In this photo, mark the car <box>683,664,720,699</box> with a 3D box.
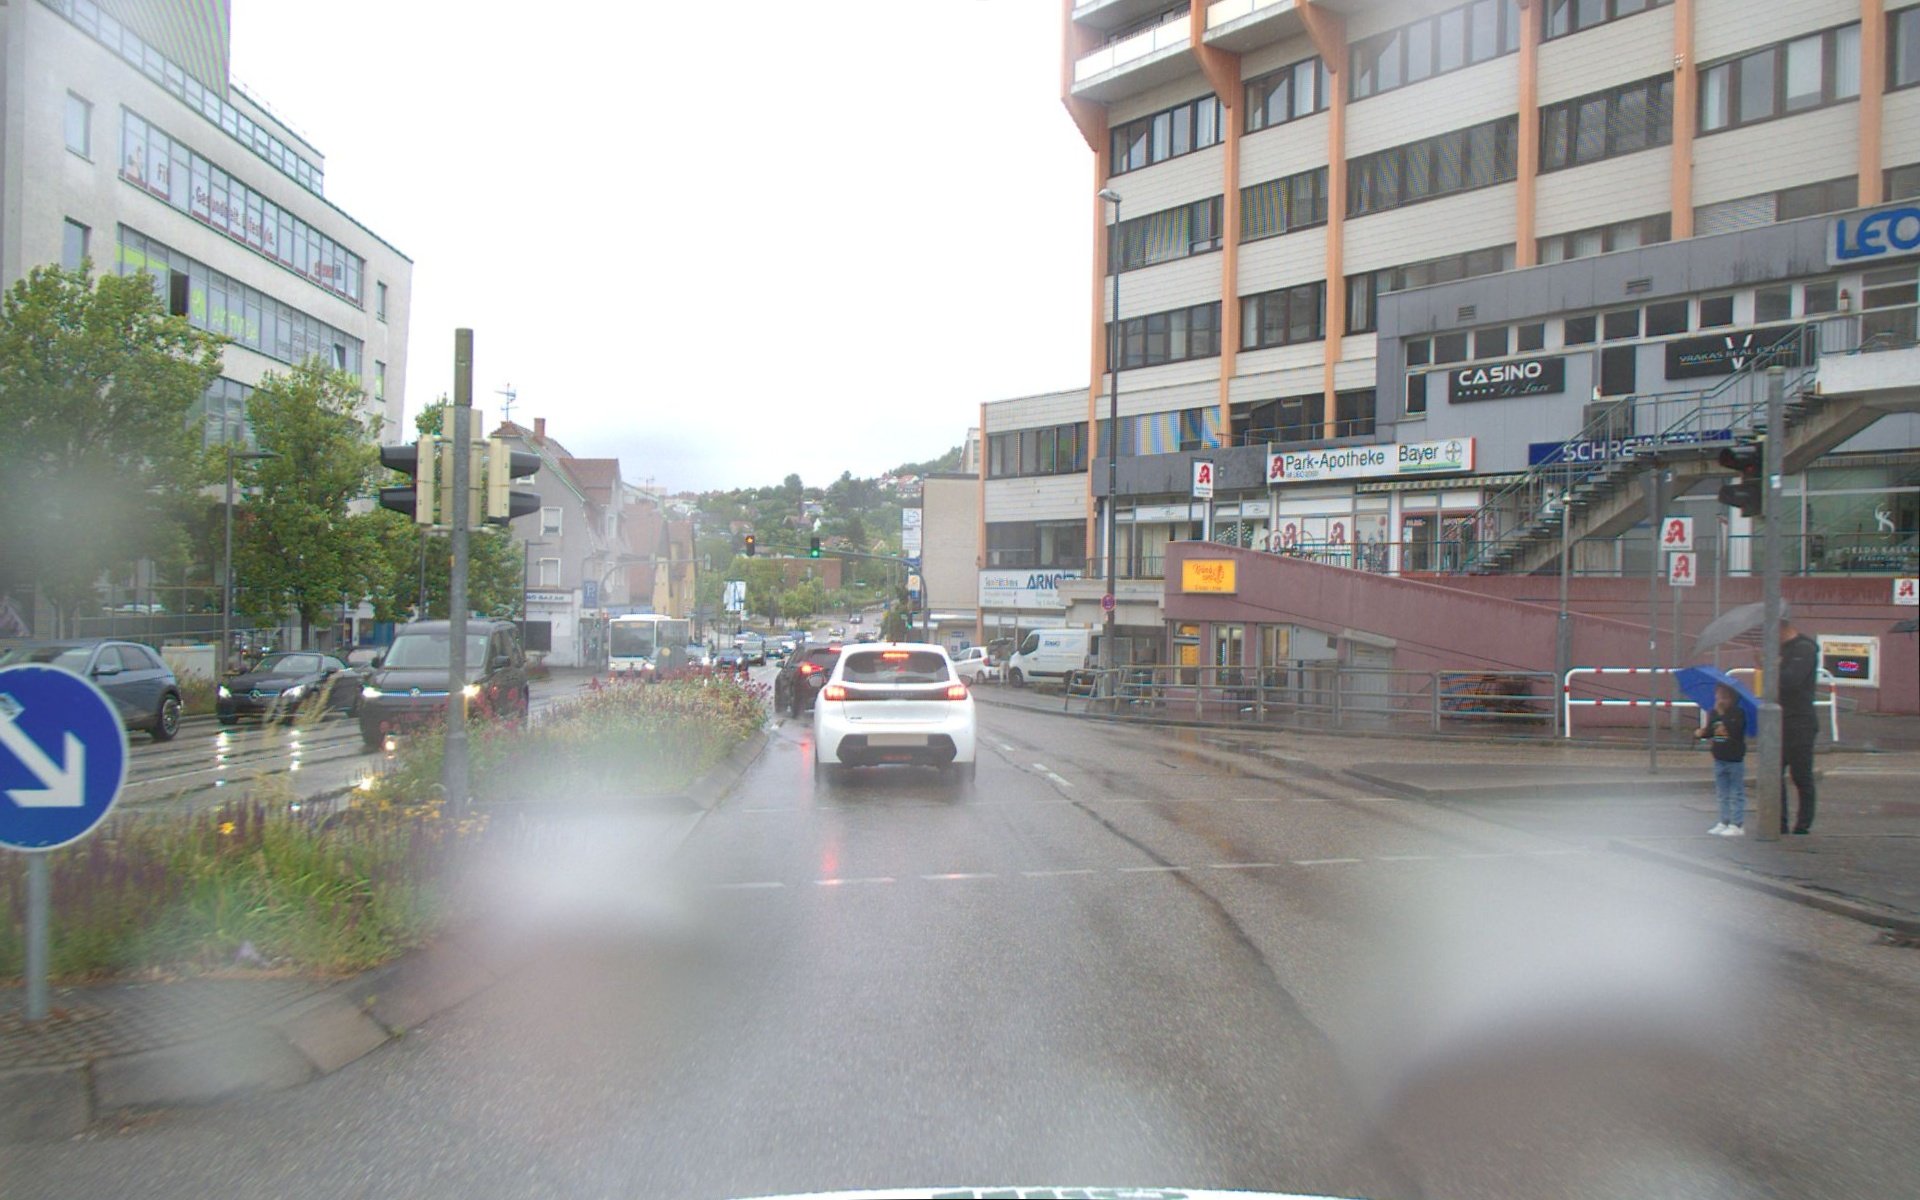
[{"bbox_3d":[-12.817,4.022,82.083,1.781,1.582,3.992,0,-1,-9],"label":"car"}]

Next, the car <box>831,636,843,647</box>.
[{"bbox_3d":[-18.516,6.195,248.338,1.712,1.582,3.996,0,-1,-5],"label":"car"}]

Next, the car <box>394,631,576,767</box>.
[{"bbox_3d":[-7.168,1.482,25.368,1.955,1.856,4.292,-1,-2,-6],"label":"car"}]

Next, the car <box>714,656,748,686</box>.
[{"bbox_3d":[-13.079,4.058,94.638,1.780,1.582,3.995,0,-1,-6],"label":"car"}]

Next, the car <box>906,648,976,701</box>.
[{"bbox_3d":[-0.592,2.160,48.549,1.873,1.425,3.455,1,-1,-3],"label":"car"}]

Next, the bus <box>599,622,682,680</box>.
[{"bbox_3d":[-16.701,2.575,86.983,2.879,2.832,9.499,0,-1,-2],"label":"bus"}]

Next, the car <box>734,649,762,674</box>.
[{"bbox_3d":[-14.561,4.202,113.704,1.712,1.582,3.996,0,-1,-5],"label":"car"}]

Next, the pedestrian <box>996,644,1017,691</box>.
[{"bbox_3d":[1.841,2.684,65.776,0.635,1.854,0.575,1,-1,-36],"label":"pedestrian"}]

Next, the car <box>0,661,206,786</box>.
[{"bbox_3d":[-13.562,1.848,25.650,1.738,1.622,4.585,-3,-1,-3],"label":"car"}]

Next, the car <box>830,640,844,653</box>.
[{"bbox_3d":[-15.042,5.673,202.433,1.712,1.582,3.996,0,-1,-5],"label":"car"}]

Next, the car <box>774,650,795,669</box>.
[{"bbox_3d":[-16.107,5.463,151.822,1.711,1.582,3.997,0,-1,-4],"label":"car"}]

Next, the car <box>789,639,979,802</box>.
[{"bbox_3d":[-0.833,1.237,18.249,1.834,1.488,3.871,2,0,-3],"label":"car"}]

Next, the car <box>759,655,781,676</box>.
[{"bbox_3d":[-15.816,5.428,137.894,1.712,1.582,3.996,0,-1,-5],"label":"car"}]

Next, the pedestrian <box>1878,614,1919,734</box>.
[{"bbox_3d":[13.889,1.060,23.872,0.777,1.698,0.931,1,-1,1],"label":"pedestrian"}]

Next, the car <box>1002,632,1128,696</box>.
[{"bbox_3d":[3.906,2.359,62.291,1.980,2.265,4.906,1,-1,-39],"label":"car"}]

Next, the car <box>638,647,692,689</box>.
[{"bbox_3d":[-12.098,2.753,67.974,1.856,1.582,3.995,0,-1,-6],"label":"car"}]

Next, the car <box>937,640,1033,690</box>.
[{"bbox_3d":[0.989,2.612,67.292,1.869,1.912,4.084,0,-1,-35],"label":"car"}]

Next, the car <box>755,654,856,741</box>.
[{"bbox_3d":[-3.186,1.942,33.562,1.782,1.556,3.804,-3,-2,-9],"label":"car"}]

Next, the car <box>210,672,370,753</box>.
[{"bbox_3d":[-13.537,2.236,33.702,1.692,1.412,4.596,0,-1,-4],"label":"car"}]

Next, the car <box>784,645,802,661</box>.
[{"bbox_3d":[-16.826,5.324,166.378,1.712,1.582,3.996,0,-1,-5],"label":"car"}]

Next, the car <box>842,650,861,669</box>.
[{"bbox_3d":[-10.212,5.584,155.629,1.712,1.582,3.996,0,-1,-5],"label":"car"}]

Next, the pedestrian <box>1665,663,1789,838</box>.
[{"bbox_3d":[6.213,1.203,13.425,0.693,1.369,0.655,0,-1,0],"label":"pedestrian"}]

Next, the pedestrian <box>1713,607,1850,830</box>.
[{"bbox_3d":[6.193,0.875,12.497,0.693,1.635,0.655,0,-1,0],"label":"pedestrian"}]

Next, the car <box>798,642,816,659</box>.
[{"bbox_3d":[-17.527,5.780,189.593,1.750,1.713,3.998,2,0,-2],"label":"car"}]
